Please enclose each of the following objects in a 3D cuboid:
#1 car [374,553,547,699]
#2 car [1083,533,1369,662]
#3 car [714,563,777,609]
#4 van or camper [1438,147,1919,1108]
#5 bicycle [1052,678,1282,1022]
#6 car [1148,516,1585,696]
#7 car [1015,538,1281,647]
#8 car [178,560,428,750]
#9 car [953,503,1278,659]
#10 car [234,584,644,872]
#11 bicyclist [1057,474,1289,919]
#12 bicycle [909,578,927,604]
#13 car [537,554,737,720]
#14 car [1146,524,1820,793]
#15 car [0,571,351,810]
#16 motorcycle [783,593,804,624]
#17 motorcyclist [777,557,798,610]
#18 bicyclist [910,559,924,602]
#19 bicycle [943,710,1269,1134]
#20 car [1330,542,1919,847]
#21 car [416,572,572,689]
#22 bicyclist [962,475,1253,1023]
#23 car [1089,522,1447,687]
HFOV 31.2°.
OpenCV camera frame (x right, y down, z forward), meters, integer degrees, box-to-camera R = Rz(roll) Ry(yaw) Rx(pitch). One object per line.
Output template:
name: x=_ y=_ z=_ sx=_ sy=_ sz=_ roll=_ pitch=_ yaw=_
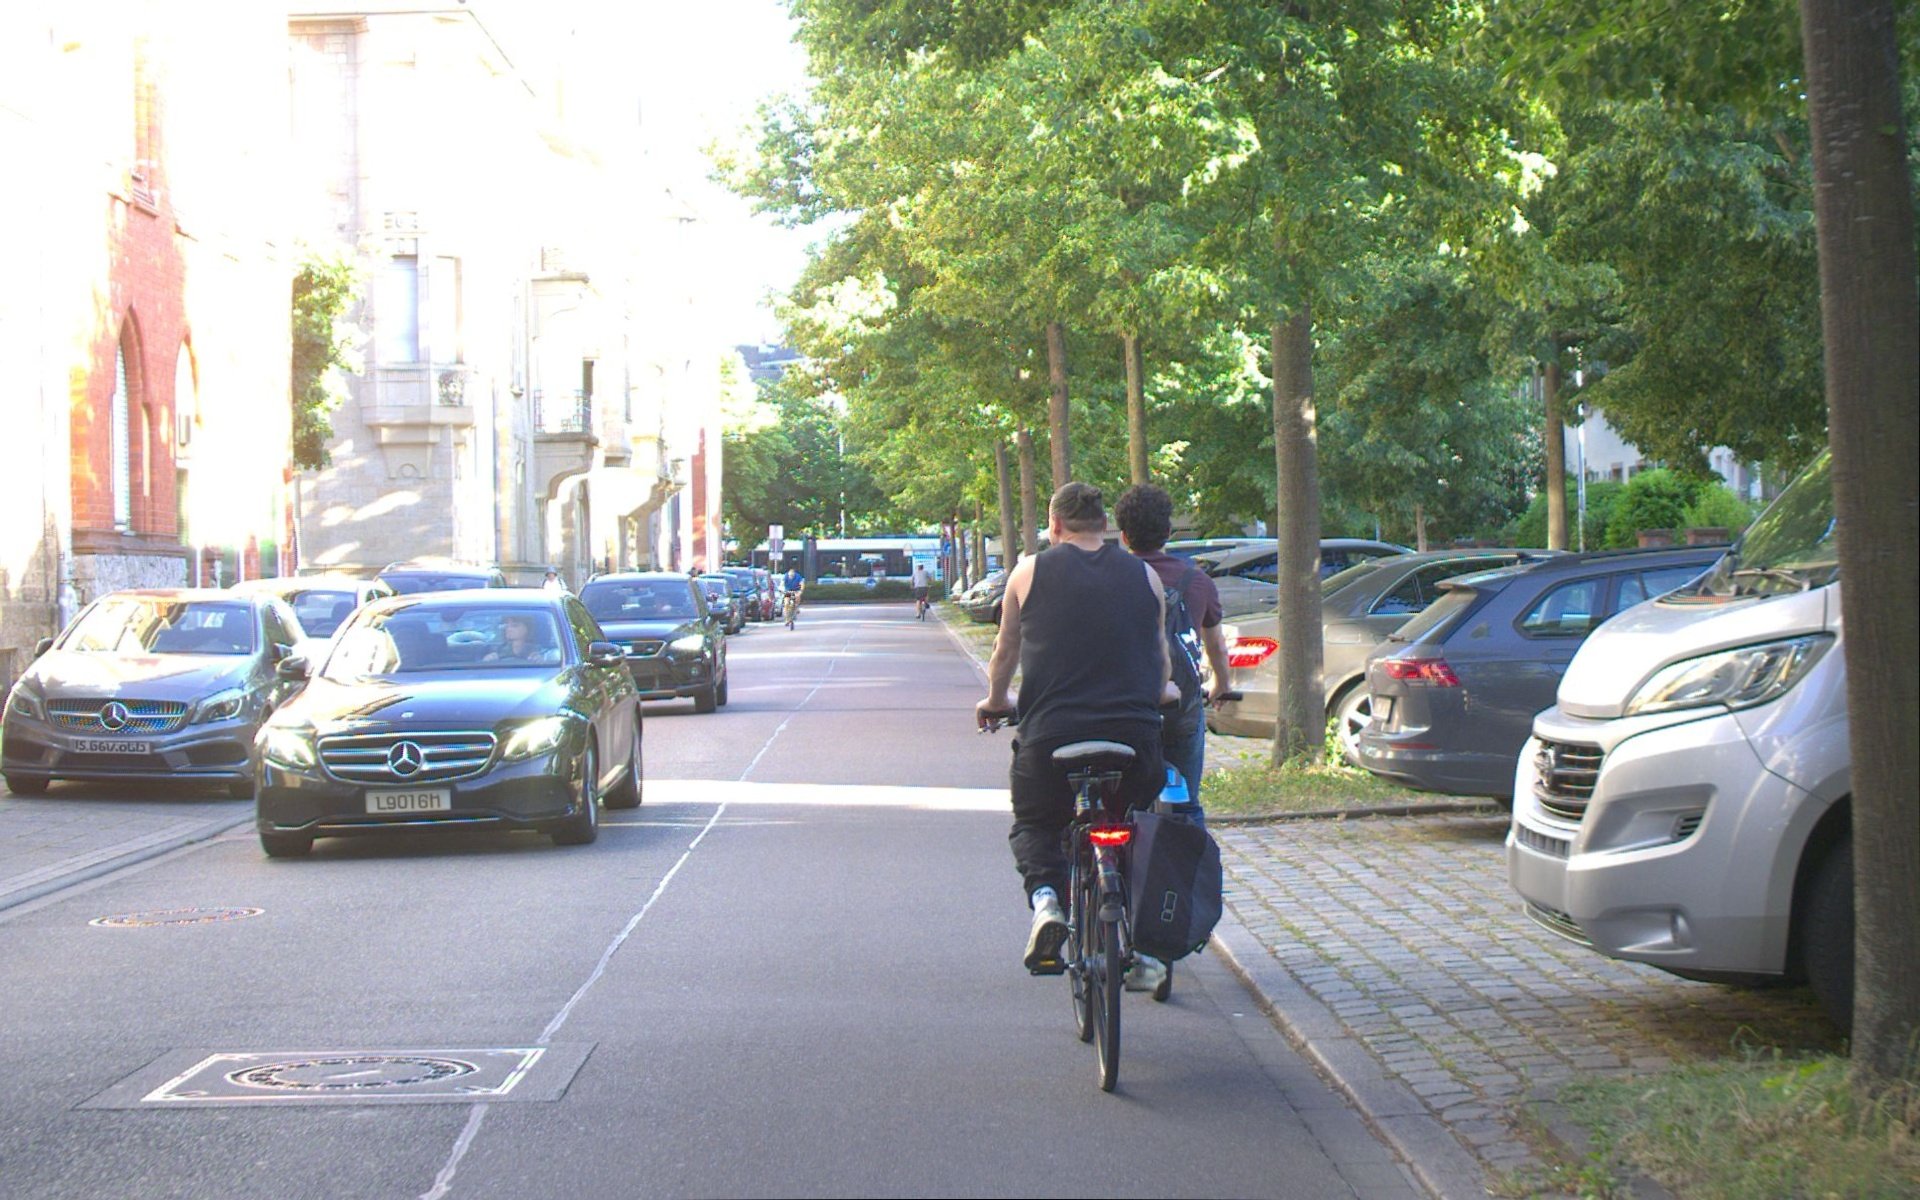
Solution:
car: x=-6.023 y=0.314 z=41.814 sx=1.630 sy=1.660 sz=3.969 roll=-1 pitch=0 yaw=-2
car: x=4.092 y=-0.034 z=53.445 sx=4.243 sy=1.791 sz=1.854 roll=-2 pitch=0 yaw=0
car: x=-7.471 y=-0.488 z=120.078 sx=1.993 sy=1.525 sz=4.000 roll=-1 pitch=0 yaw=-1
van or camper: x=4.497 y=-0.059 z=10.442 sx=5.573 sy=2.528 sz=2.269 roll=-3 pitch=0 yaw=-2
bicycle: x=0.715 y=0.852 z=12.402 sx=0.555 sy=1.069 sz=1.969 roll=-1 pitch=0 yaw=-4
car: x=4.150 y=0.066 z=35.569 sx=4.243 sy=1.642 sz=1.854 roll=-2 pitch=0 yaw=0
car: x=3.445 y=-0.133 z=63.599 sx=4.757 sy=1.774 sz=1.854 roll=-2 pitch=0 yaw=0
car: x=-5.762 y=0.457 z=30.534 sx=1.491 sy=1.512 sz=3.775 roll=3 pitch=0 yaw=-1
car: x=3.587 y=-0.426 z=80.306 sx=7.333 sy=3.271 sz=2.223 roll=-2 pitch=0 yaw=0
car: x=-2.951 y=0.692 z=20.347 sx=1.896 sy=1.481 sz=4.382 roll=-1 pitch=0 yaw=-2
bicyclist: x=0.748 y=0.337 z=12.349 sx=0.718 sy=1.521 sz=0.972 roll=-1 pitch=-1 yaw=-2
bicycle: x=-1.346 y=-0.281 z=109.681 sx=0.541 sy=0.825 sz=1.919 roll=-1 pitch=0 yaw=-1
car: x=-3.464 y=0.381 z=37.511 sx=1.767 sy=1.594 sz=4.090 roll=-4 pitch=0 yaw=-1
car: x=3.529 y=0.391 z=23.682 sx=4.242 sy=1.600 sz=1.754 roll=-2 pitch=0 yaw=-4
car: x=-5.683 y=0.604 z=25.061 sx=1.755 sy=1.512 sz=4.115 roll=3 pitch=0 yaw=-1
motorcycle: x=-4.582 y=0.232 z=94.514 sx=0.551 sy=0.798 sz=1.308 roll=-2 pitch=1 yaw=-3
motorcyclist: x=-4.742 y=-0.466 z=94.499 sx=0.551 sy=1.443 sz=0.688 roll=-2 pitch=1 yaw=-3
bicyclist: x=-1.362 y=-0.613 z=109.726 sx=0.417 sy=1.346 sz=0.430 roll=-1 pitch=-1 yaw=-1
bicycle: x=0.387 y=0.889 z=10.168 sx=0.696 sy=1.069 sz=1.969 roll=-1 pitch=0 yaw=-5
car: x=4.312 y=0.450 z=18.118 sx=4.502 sy=1.448 sz=1.816 roll=-2 pitch=0 yaw=1
car: x=-6.403 y=0.407 z=47.619 sx=1.615 sy=1.477 sz=4.018 roll=3 pitch=0 yaw=-1
bicyclist: x=0.413 y=0.419 z=10.113 sx=0.706 sy=1.521 sz=0.972 roll=-1 pitch=-1 yaw=-5
car: x=3.799 y=0.058 z=42.976 sx=4.243 sy=1.833 sz=1.854 roll=-2 pitch=0 yaw=0
